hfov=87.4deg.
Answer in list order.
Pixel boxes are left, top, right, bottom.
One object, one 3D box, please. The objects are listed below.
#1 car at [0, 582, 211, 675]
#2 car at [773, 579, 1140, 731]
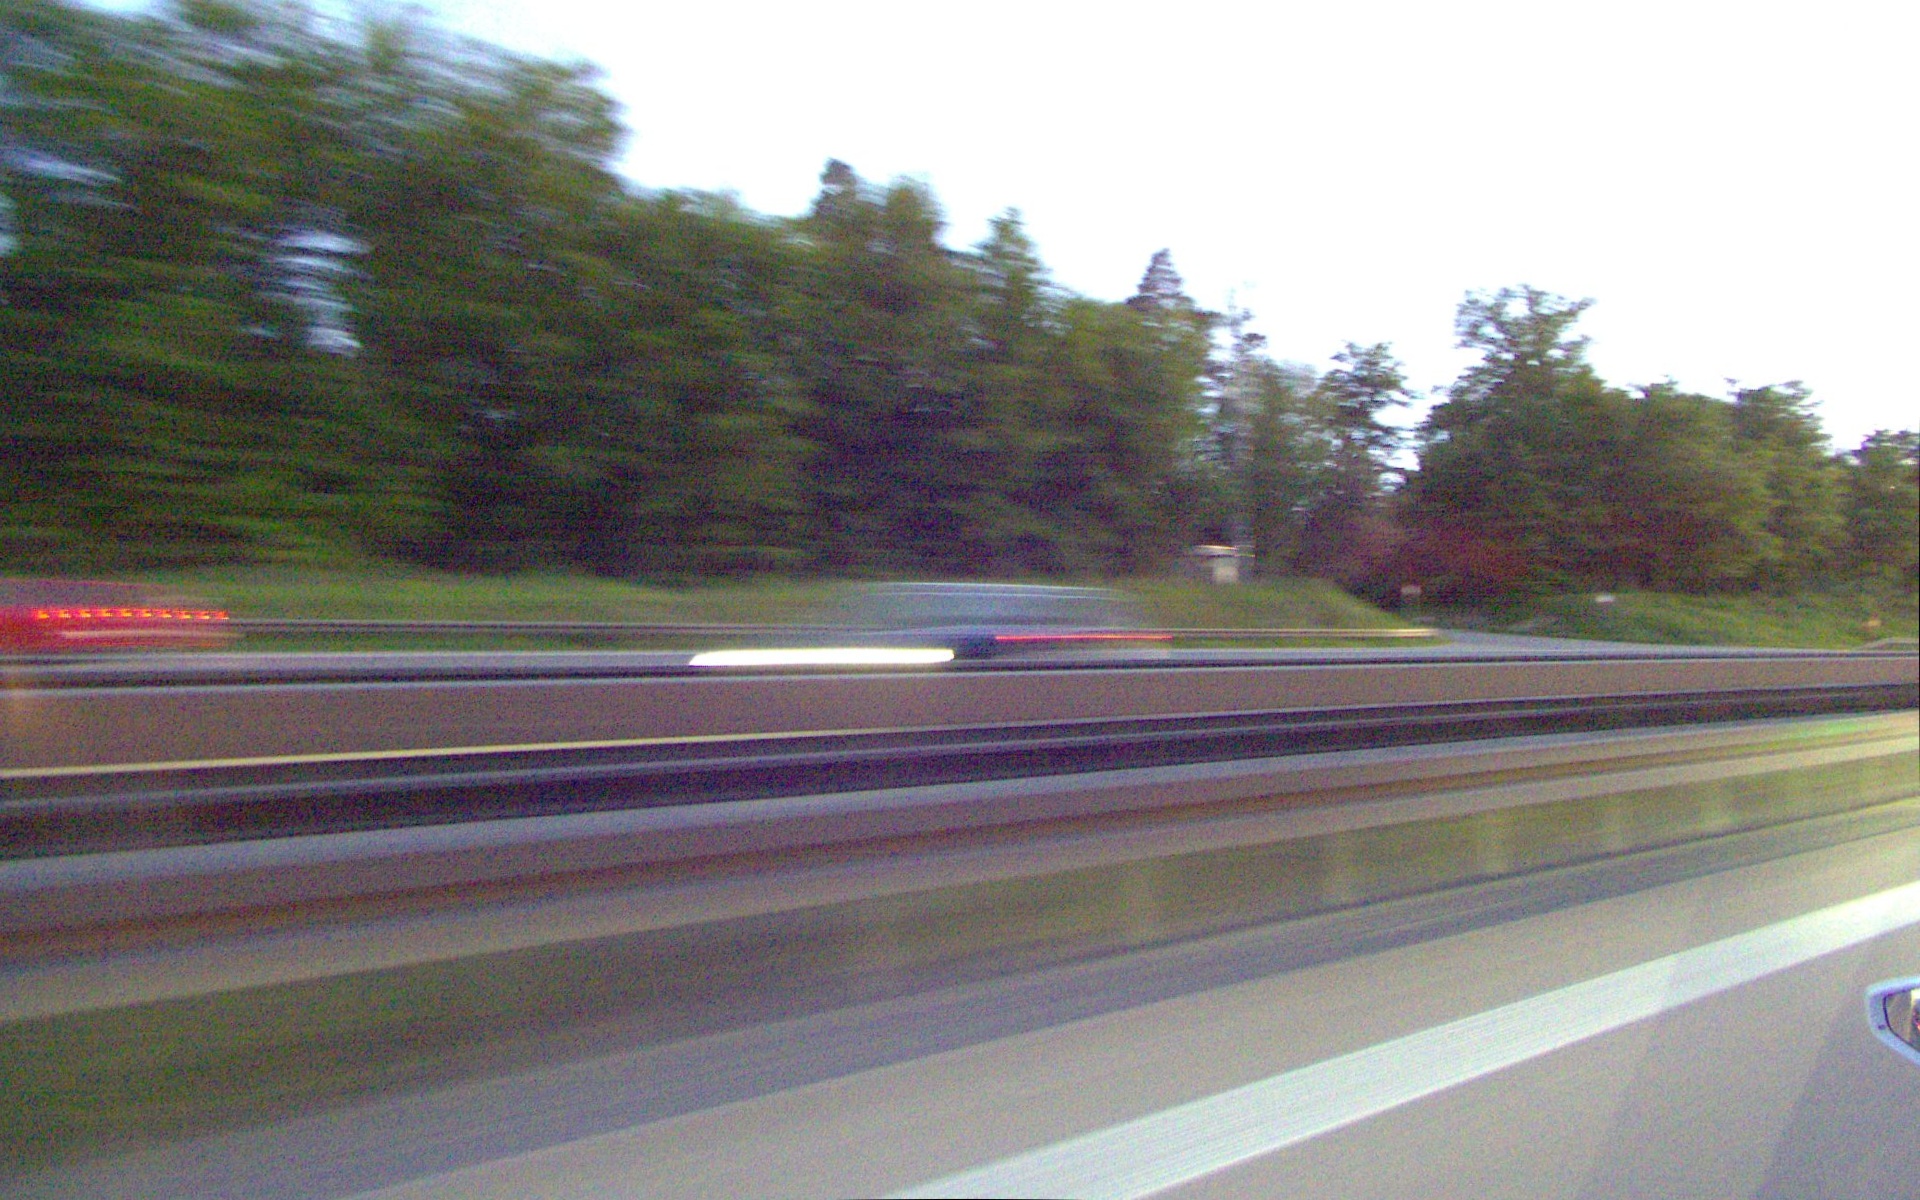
[{"bbox_3d":[-15.894,0.475,17.330,4.540,1.517,1.842,1,0,-30],"label":"car"},{"bbox_3d":[0.007,0.665,13.361,4.497,1.728,1.984,1,0,-30],"label":"car"}]
